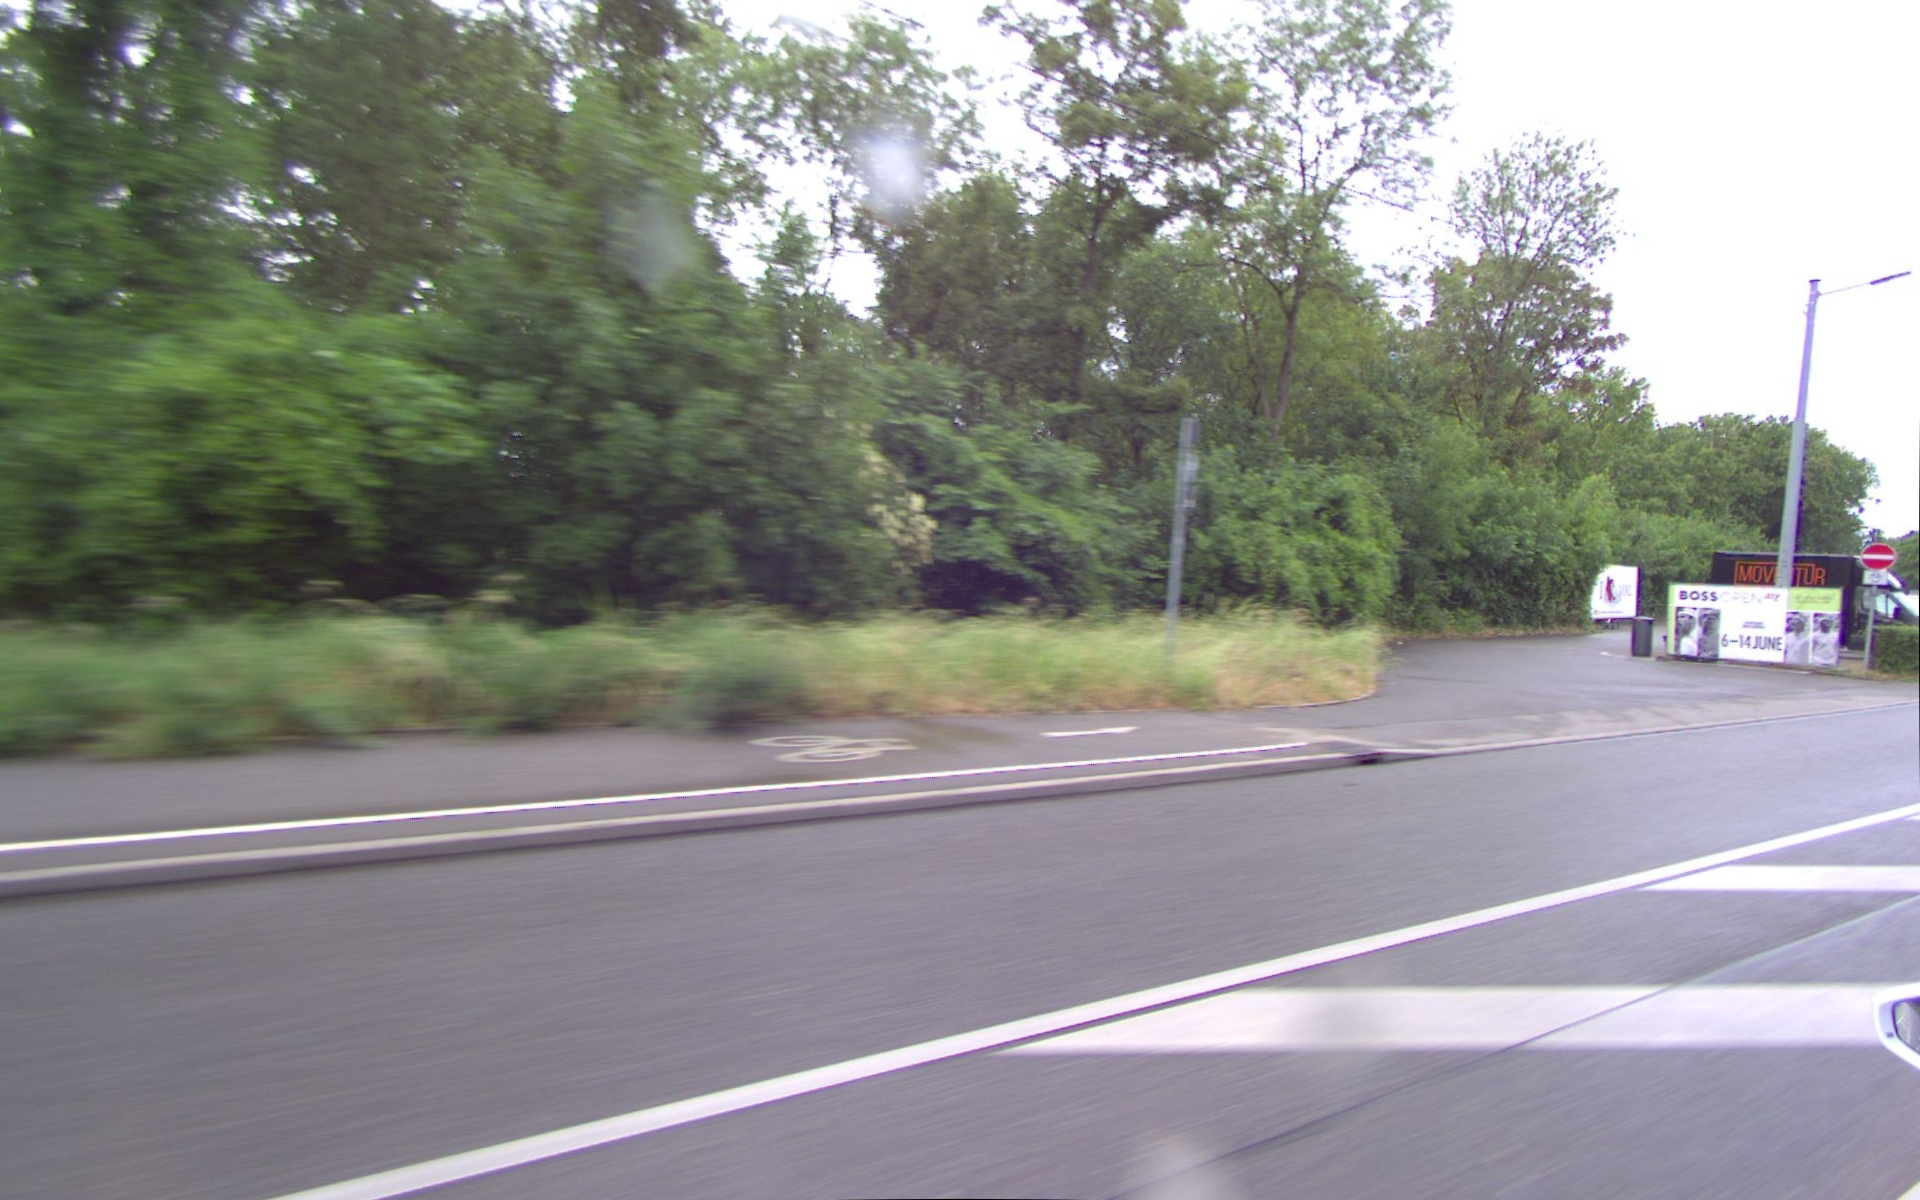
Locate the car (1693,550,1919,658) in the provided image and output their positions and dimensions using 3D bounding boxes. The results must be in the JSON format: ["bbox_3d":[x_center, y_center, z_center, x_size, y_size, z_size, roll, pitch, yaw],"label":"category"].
[{"bbox_3d":[27.711,0.079,32.198,2.729,3.155,6.220,2,1,-39],"label":"car"}]

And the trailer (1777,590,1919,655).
[{"bbox_3d":[31.833,0.768,35.679,1.855,2.080,3.958,1,1,-36],"label":"trailer"}]

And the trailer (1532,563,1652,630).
[{"bbox_3d":[29.896,-0.136,47.349,7.912,2.912,2.455,1,1,-40],"label":"trailer"}]

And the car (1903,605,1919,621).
[{"bbox_3d":[107.814,1.564,111.596,4.242,1.731,1.989,4,3,42],"label":"car"}]
